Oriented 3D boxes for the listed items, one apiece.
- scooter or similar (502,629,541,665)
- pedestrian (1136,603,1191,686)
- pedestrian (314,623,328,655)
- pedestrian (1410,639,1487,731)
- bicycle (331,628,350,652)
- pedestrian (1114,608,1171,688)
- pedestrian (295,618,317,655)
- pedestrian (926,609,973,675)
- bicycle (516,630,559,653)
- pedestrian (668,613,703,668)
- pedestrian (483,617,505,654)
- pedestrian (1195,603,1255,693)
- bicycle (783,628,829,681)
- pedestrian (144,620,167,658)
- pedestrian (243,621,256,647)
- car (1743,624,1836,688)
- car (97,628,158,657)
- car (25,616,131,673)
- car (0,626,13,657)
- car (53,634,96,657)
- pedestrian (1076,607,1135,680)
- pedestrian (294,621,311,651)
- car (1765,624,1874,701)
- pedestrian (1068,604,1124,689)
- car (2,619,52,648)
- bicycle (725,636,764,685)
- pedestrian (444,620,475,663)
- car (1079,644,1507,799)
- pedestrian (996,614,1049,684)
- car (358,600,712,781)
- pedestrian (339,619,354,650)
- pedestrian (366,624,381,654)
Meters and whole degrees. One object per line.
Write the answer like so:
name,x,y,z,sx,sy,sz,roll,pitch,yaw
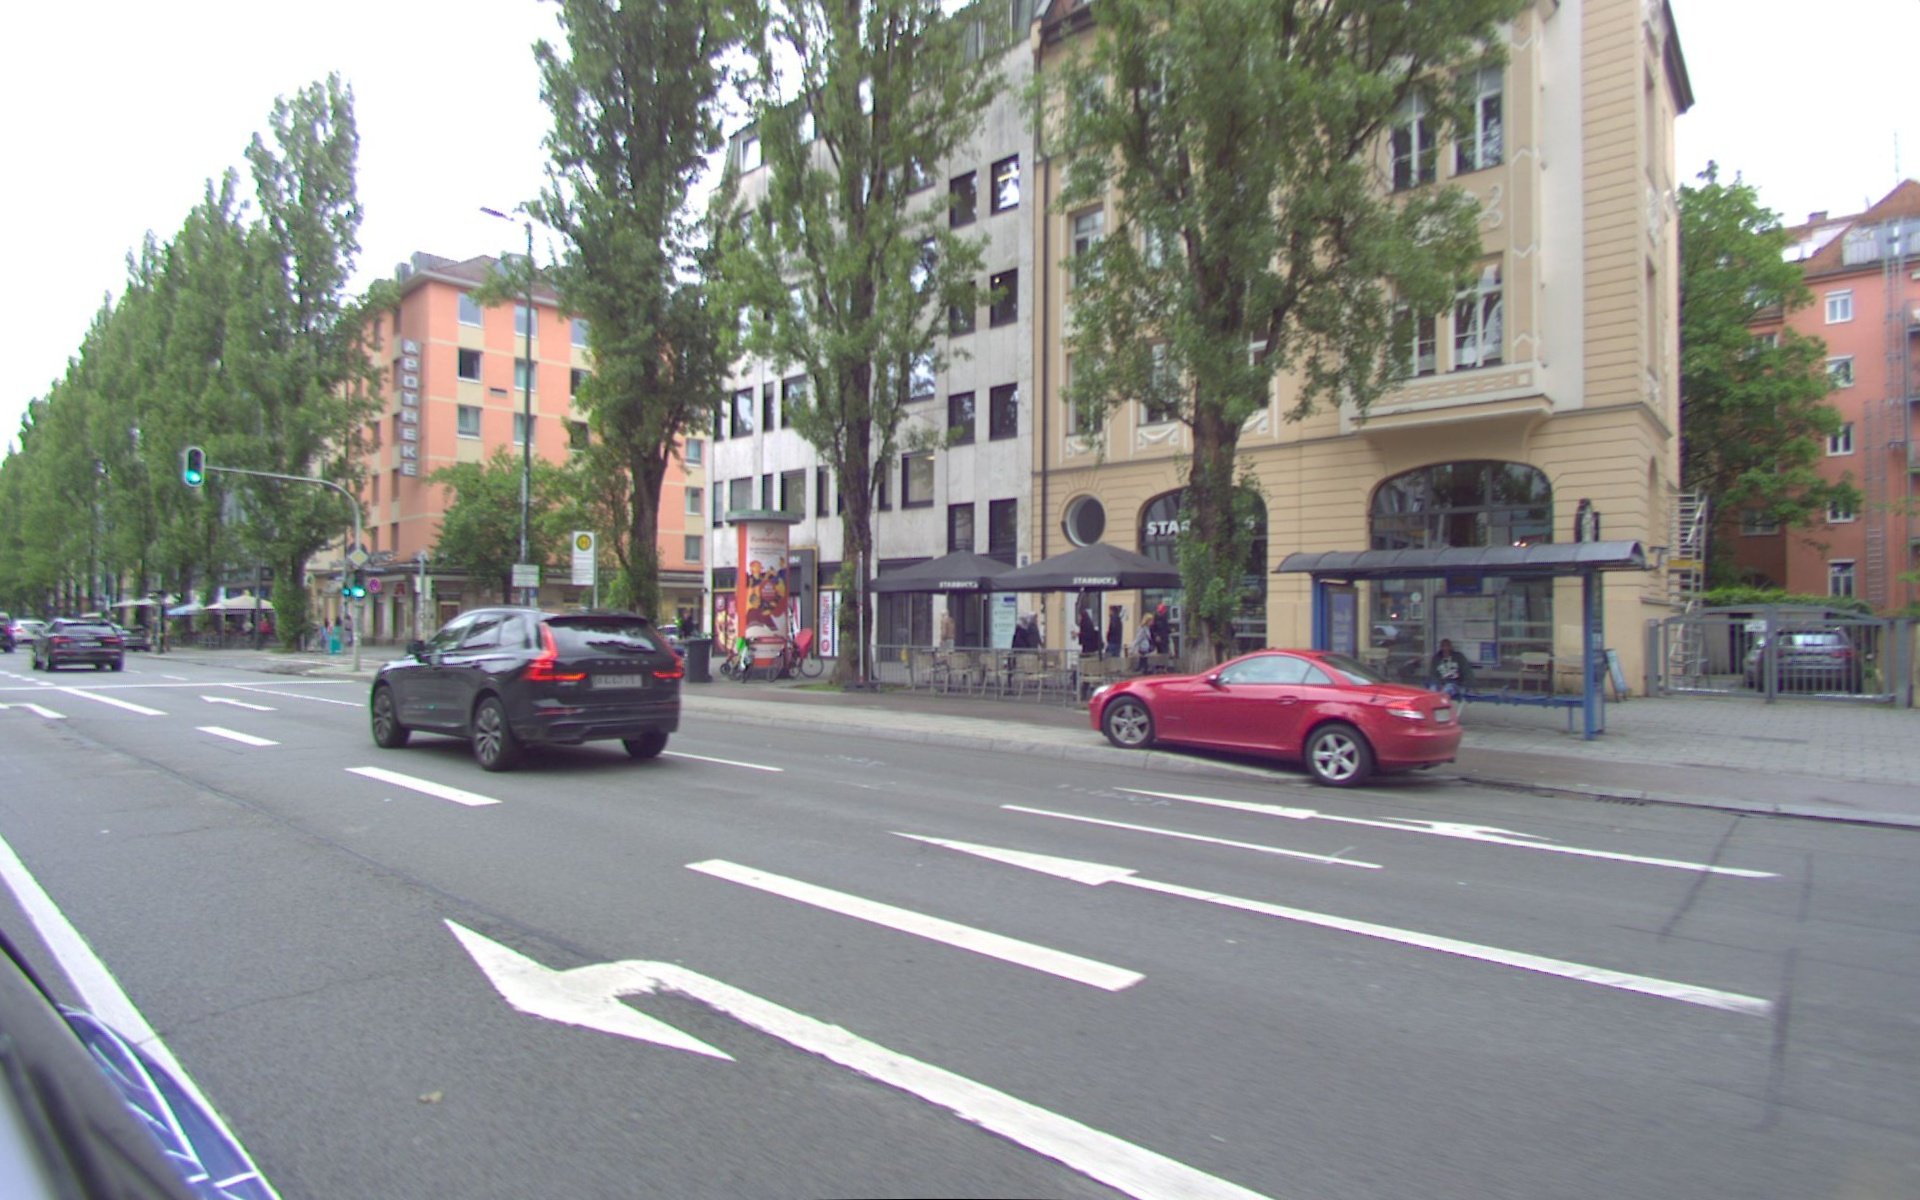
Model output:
scooter or similar,-16.721,1.777,38.596,1.341,1.349,0.439,1,-2,-28
pedestrian,4.559,0.977,22.645,0.911,1.801,0.791,-2,-1,42
pedestrian,-34.879,2.125,55.266,0.626,1.683,0.501,-2,-1,43
pedestrian,7.189,1.218,14.894,0.757,1.266,0.950,-2,-1,43
bicycle,-30.069,1.925,49.104,1.373,1.150,0.416,-1,-1,43
pedestrian,3.983,1.030,22.100,0.977,1.694,0.724,-2,-1,41
pedestrian,-31.781,1.774,49.197,0.778,1.784,0.716,-2,-2,42
pedestrian,-0.274,1.117,27.490,0.954,1.757,0.834,-1,0,42
bicycle,-22.427,2.185,53.762,0.690,1.193,2.033,-2,-2,44
pedestrian,-8.965,1.295,33.057,0.941,1.753,0.719,-1,0,41
pedestrian,-22.796,1.722,49.533,0.692,1.780,0.770,-2,-2,41
pedestrian,5.340,0.960,20.402,0.895,1.757,0.821,1,-2,-44
bicycle,-3.920,1.364,25.853,0.579,1.311,1.948,0,-2,10
pedestrian,-39.085,1.890,49.161,0.725,1.809,0.995,0,0,-30
pedestrian,-48.046,2.309,68.436,0.692,1.731,0.549,-2,-2,41
car,22.216,1.428,27.060,1.720,1.586,3.694,-1,-2,42
car,-44.870,2.284,54.540,4.586,1.449,1.686,-1,-3,40
car,-28.131,1.406,32.236,4.584,1.693,1.893,-1,-4,41
car,-47.663,2.020,49.506,3.692,1.507,1.545,-1,-3,41
car,-55.875,2.857,63.813,4.185,1.392,1.478,-1,-3,42
pedestrian,3.516,1.021,24.385,0.988,1.697,1.071,-1,0,40
pedestrian,-35.523,1.952,54.699,0.548,1.595,0.649,-1,-1,43
car,19.334,1.332,22.715,1.720,1.586,3.694,-1,-2,42
pedestrian,2.923,0.981,21.770,0.895,1.757,0.821,1,-2,-44
car,-57.970,2.052,62.831,4.634,1.729,1.817,-1,-3,42
bicycle,-5.238,1.448,24.557,0.499,1.096,1.815,-1,0,-25
pedestrian,-19.657,1.624,39.750,0.934,1.631,0.770,-2,-2,41
car,3.521,1.177,11.144,4.094,1.308,1.859,-1,-2,42
pedestrian,1.466,1.136,23.856,0.989,1.579,0.742,-1,0,41
car,-4.873,0.899,11.324,4.334,1.636,1.915,-1,-4,41
pedestrian,-34.130,1.901,56.309,0.519,1.701,0.623,-1,0,42
pedestrian,-32.752,2.177,56.511,0.514,1.704,0.580,-2,-2,41
